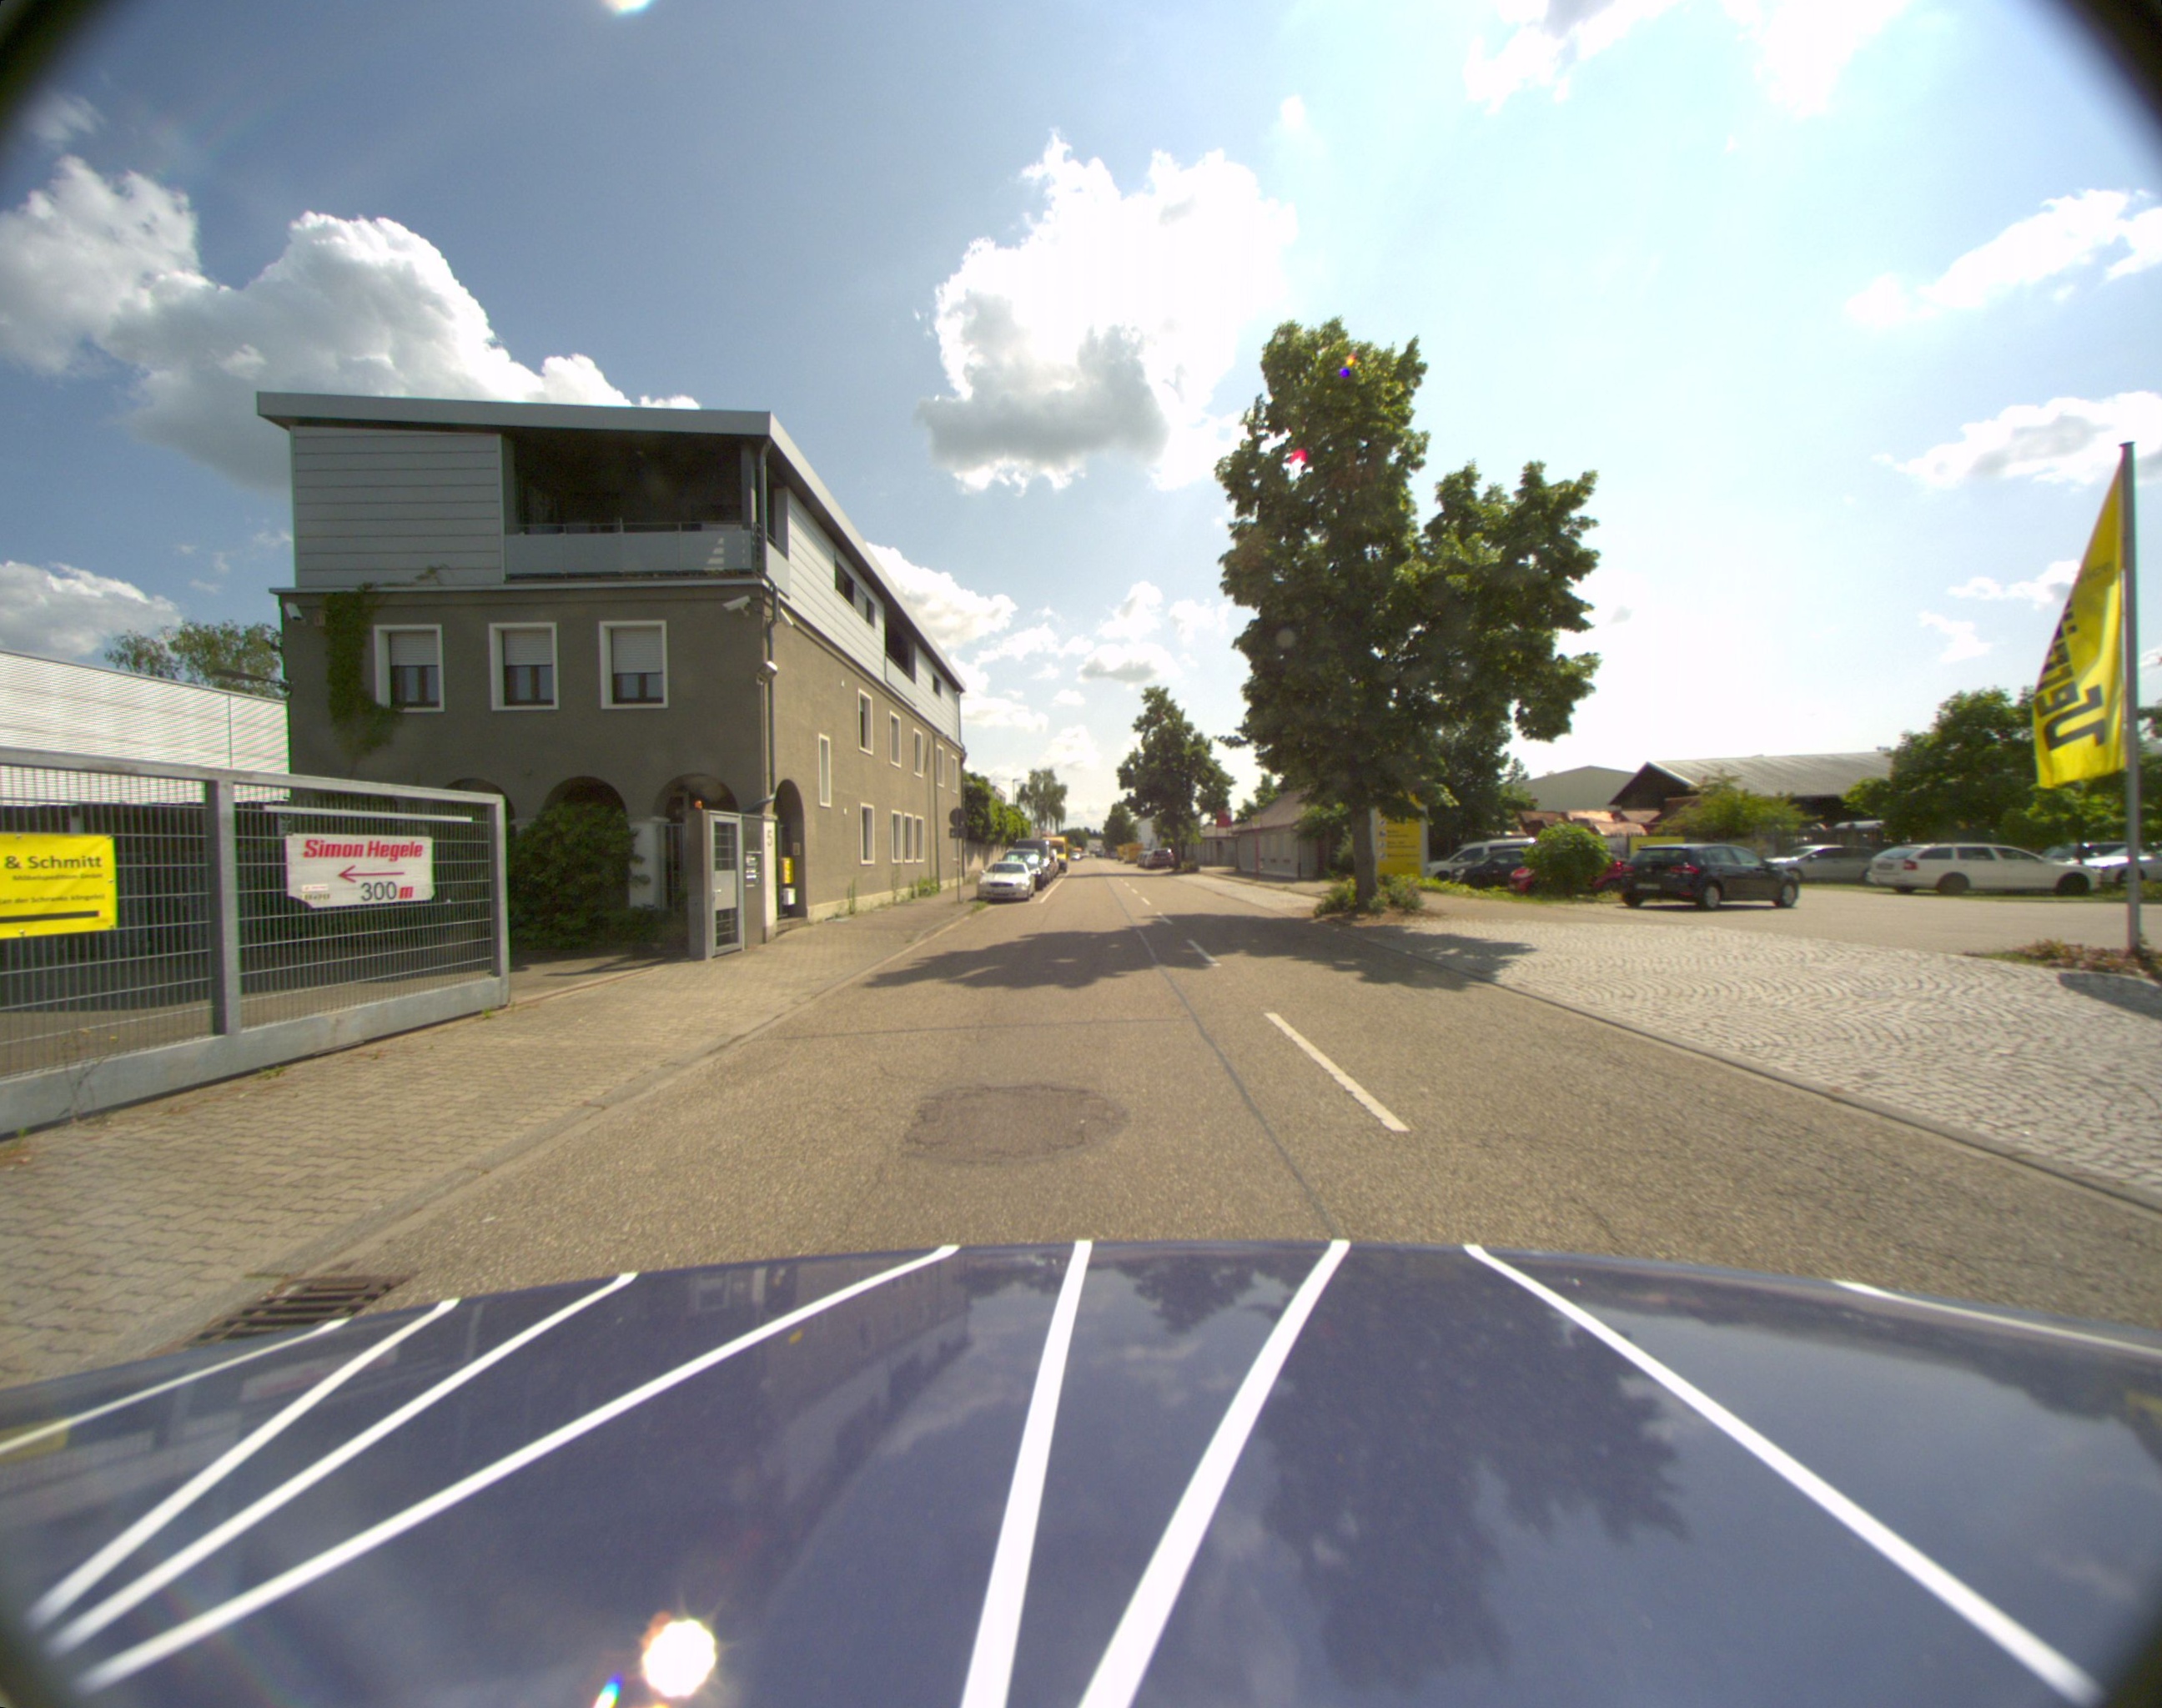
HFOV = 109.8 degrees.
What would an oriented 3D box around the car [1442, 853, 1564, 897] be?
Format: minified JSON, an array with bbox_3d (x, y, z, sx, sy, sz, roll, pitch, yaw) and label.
[{"bbox_3d":[14.848,0.730,26.862,3.550,1.375,1.237,-2,1,14],"label":"car"}]

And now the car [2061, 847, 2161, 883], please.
[{"bbox_3d":[33.796,0.327,24.055,3.339,0.995,1.340,-3,0,11],"label":"car"}]

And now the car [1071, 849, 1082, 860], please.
[{"bbox_3d":[-0.934,0.088,152.122,1.998,2.002,4.000,-1,1,2],"label":"car"}]

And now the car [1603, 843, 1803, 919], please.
[{"bbox_3d":[14.023,0.540,17.147,3.848,1.406,1.856,-3,1,-22],"label":"car"}]

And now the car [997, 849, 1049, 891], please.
[{"bbox_3d":[-2.427,0.640,32.829,1.999,1.678,3.999,-1,1,-1],"label":"car"}]

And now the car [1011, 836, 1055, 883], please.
[{"bbox_3d":[-2.398,0.258,39.002,1.999,2.289,4.413,-1,0,-1],"label":"car"}]

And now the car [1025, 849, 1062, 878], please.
[{"bbox_3d":[-2.369,0.610,49.218,1.998,1.672,4.000,-2,1,2],"label":"car"}]

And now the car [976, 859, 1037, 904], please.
[{"bbox_3d":[-2.487,0.887,26.157,1.657,1.324,3.999,-1,0,0],"label":"car"}]

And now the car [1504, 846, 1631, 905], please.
[{"bbox_3d":[13.925,0.612,21.903,2.778,1.535,1.593,-2,1,19],"label":"car"}]

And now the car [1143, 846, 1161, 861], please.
[{"bbox_3d":[7.172,-0.057,76.583,1.655,1.432,3.314,-1,1,7],"label":"car"}]

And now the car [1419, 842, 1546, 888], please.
[{"bbox_3d":[15.735,0.425,29.943,4.093,1.703,1.680,-1,1,9],"label":"car"}]

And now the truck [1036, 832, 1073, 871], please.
[{"bbox_3d":[-1.974,-0.215,59.665,2.402,2.788,6.375,-1,1,2],"label":"truck"}]

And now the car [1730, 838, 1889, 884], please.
[{"bbox_3d":[27.117,0.254,28.414,3.995,1.600,1.851,-1,1,6],"label":"car"}]

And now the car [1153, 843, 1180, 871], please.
[{"bbox_3d":[7.399,0.218,65.467,1.997,2.290,4.003,-1,1,10],"label":"car"}]

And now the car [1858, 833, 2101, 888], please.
[{"bbox_3d":[25.445,0.181,21.700,4.276,1.474,1.672,-1,2,14],"label":"car"}]
